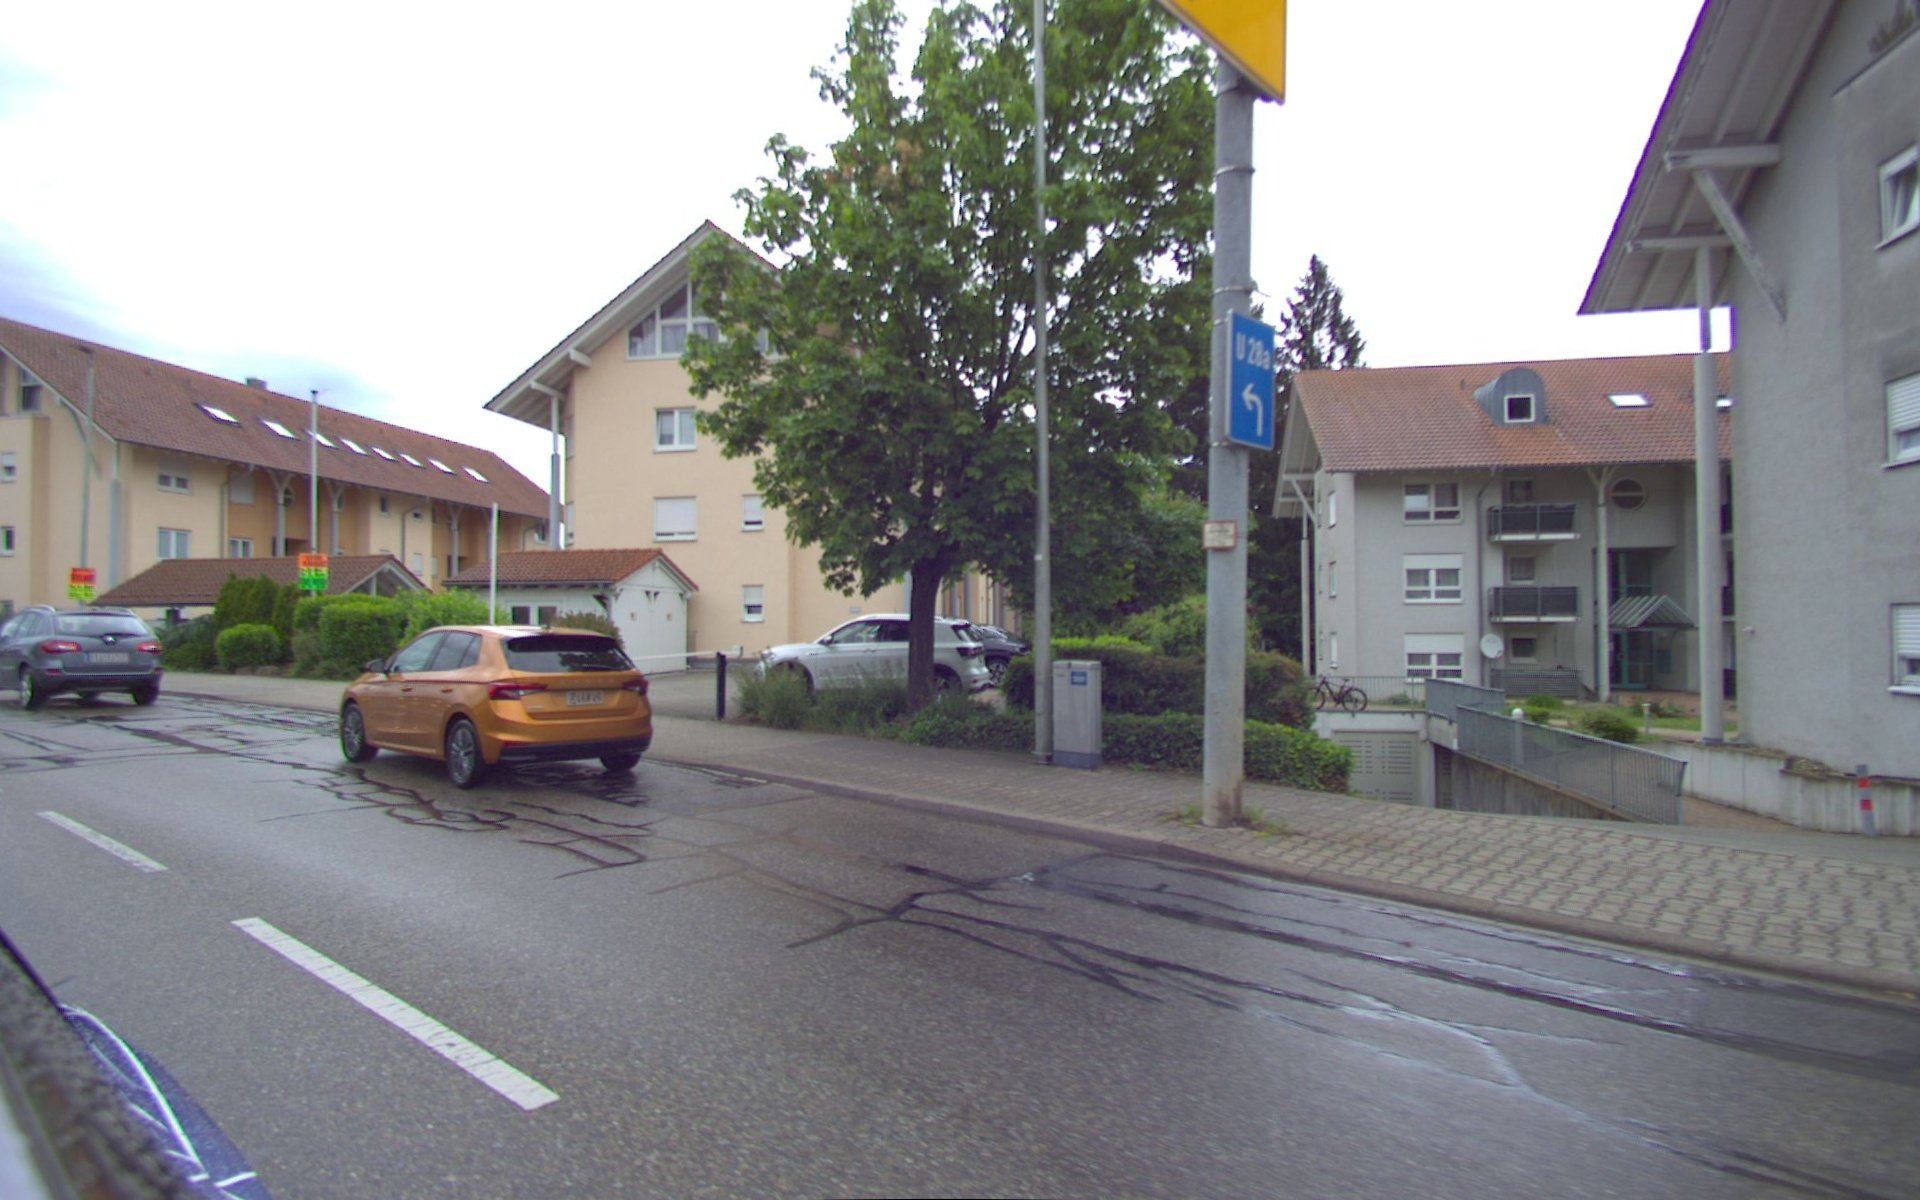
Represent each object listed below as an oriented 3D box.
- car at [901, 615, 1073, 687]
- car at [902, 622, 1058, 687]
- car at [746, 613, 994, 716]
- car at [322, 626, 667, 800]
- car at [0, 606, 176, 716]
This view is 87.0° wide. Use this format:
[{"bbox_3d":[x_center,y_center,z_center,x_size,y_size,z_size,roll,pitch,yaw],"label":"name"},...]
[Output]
[{"bbox_3d":[0.603,1.045,21.129,3.401,1.392,1.511,0,-2,10],"label":"car"},{"bbox_3d":[0.576,1.422,27.029,3.956,1.614,1.732,0,-2,10],"label":"car"},{"bbox_3d":[-1.494,1.073,17.457,3.956,1.614,1.732,0,-2,10],"label":"car"},{"bbox_3d":[-4.756,0.981,10.132,3.770,1.395,1.668,-1,-3,40],"label":"car"},{"bbox_3d":[-15.666,0.997,17.667,3.987,1.708,1.863,-1,-2,32],"label":"car"}]
